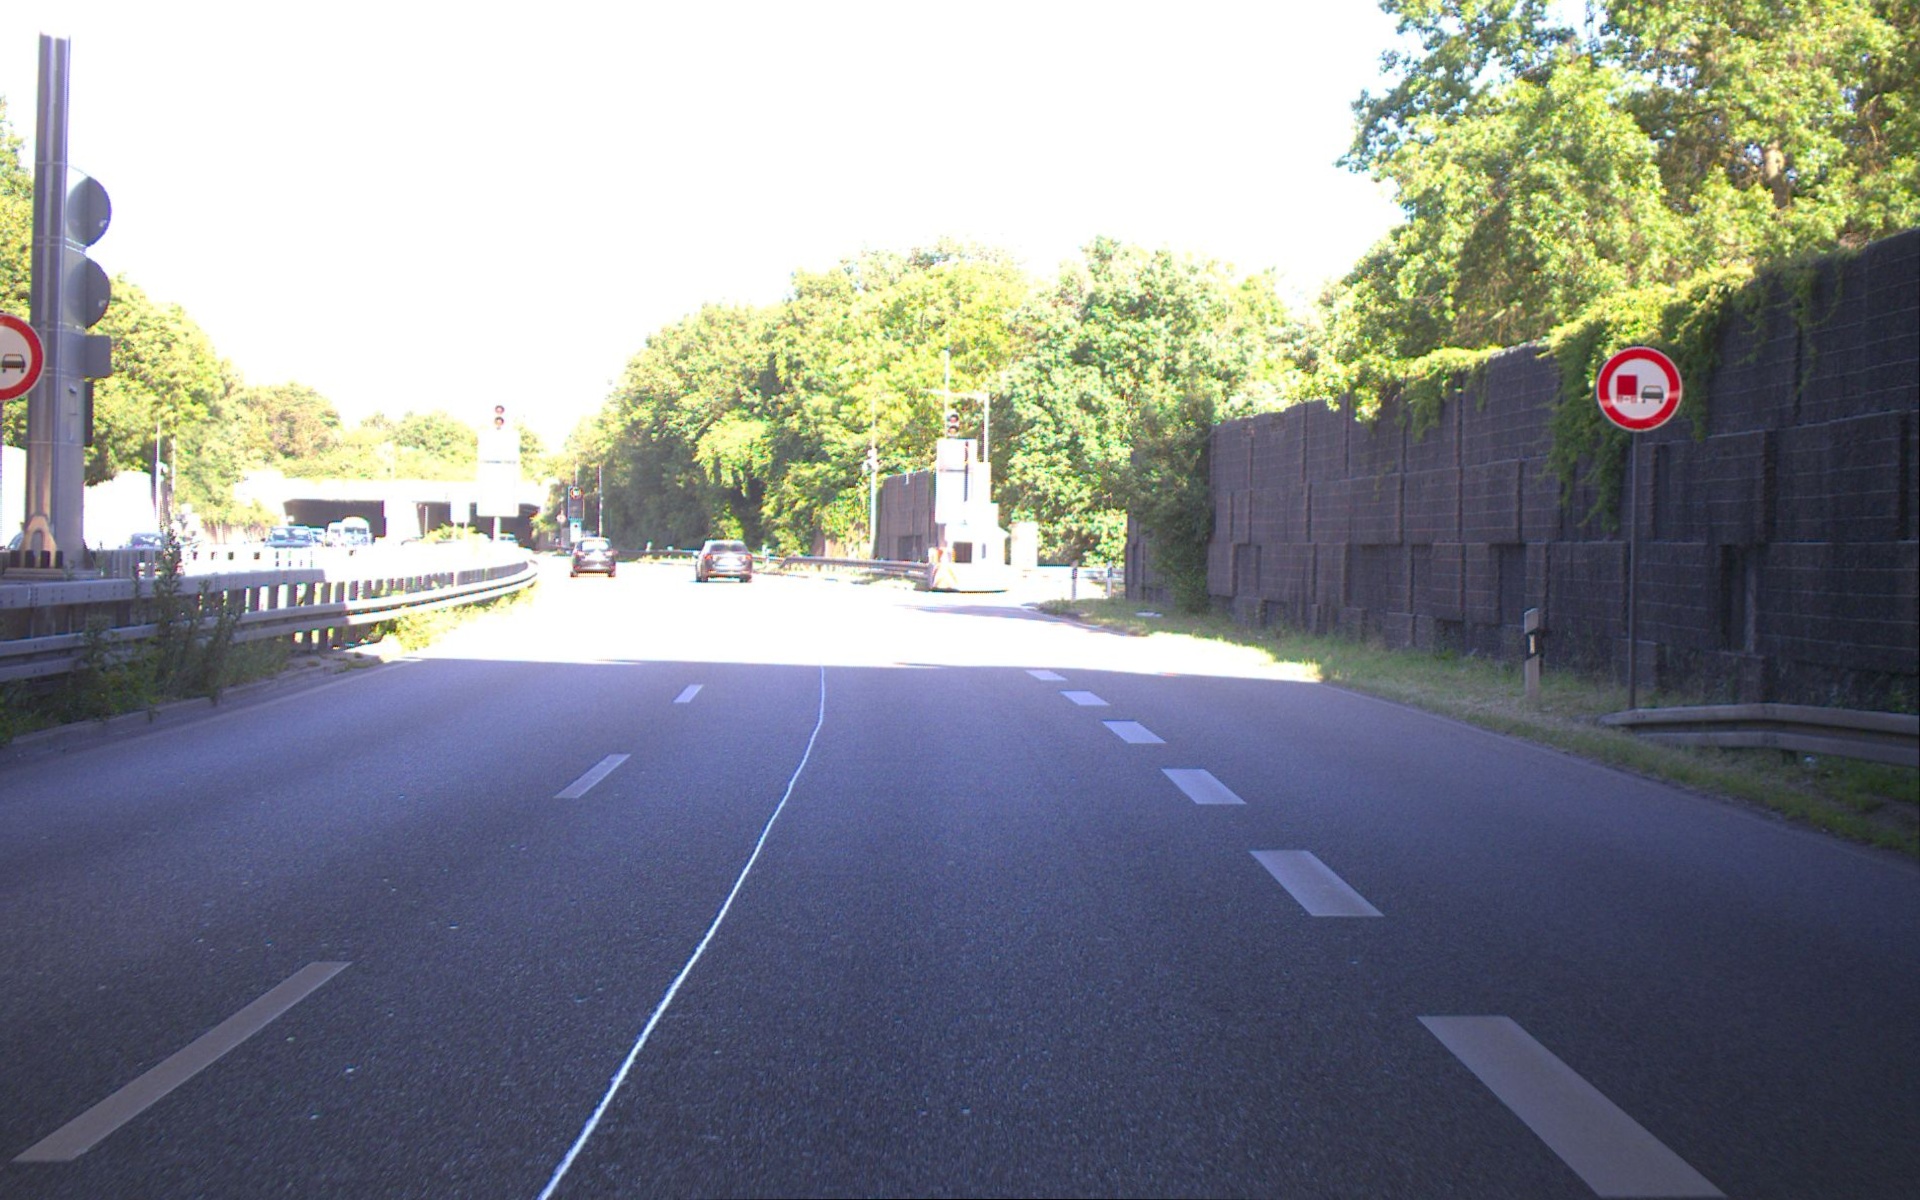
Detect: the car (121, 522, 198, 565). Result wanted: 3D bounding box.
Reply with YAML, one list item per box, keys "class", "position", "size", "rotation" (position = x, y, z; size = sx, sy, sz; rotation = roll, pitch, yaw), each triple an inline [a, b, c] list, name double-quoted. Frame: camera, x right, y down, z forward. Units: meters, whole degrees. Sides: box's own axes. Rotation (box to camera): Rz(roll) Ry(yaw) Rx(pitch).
- class: "car"
  position: [-26.839, -1.908, 115.383]
  size: [1.897, 1.417, 4.136]
  rotation: [0, 2, -4]

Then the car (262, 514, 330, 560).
- class: "car"
  position: [-24.848, -2.367, 128.870]
  size: [1.897, 1.568, 4.809]
  rotation: [3, 1, -4]

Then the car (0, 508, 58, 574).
- class: "car"
  position: [-24.149, -1.518, 87.311]
  size: [1.545, 1.568, 4.397]
  rotation: [3, 1, -4]

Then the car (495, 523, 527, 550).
- class: "car"
  position: [-33.369, -4.740, 255.267]
  size: [1.993, 1.919, 4.001]
  rotation: [2, 1, -12]

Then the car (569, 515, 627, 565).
- class: "car"
  position: [-14.340, -2.391, 136.216]
  size: [1.993, 1.919, 4.001]
  rotation: [2, 1, -3]

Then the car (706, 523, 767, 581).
- class: "car"
  position: [-7.768, -1.700, 119.987]
  size: [1.993, 1.919, 4.001]
  rotation: [2, 1, -3]
